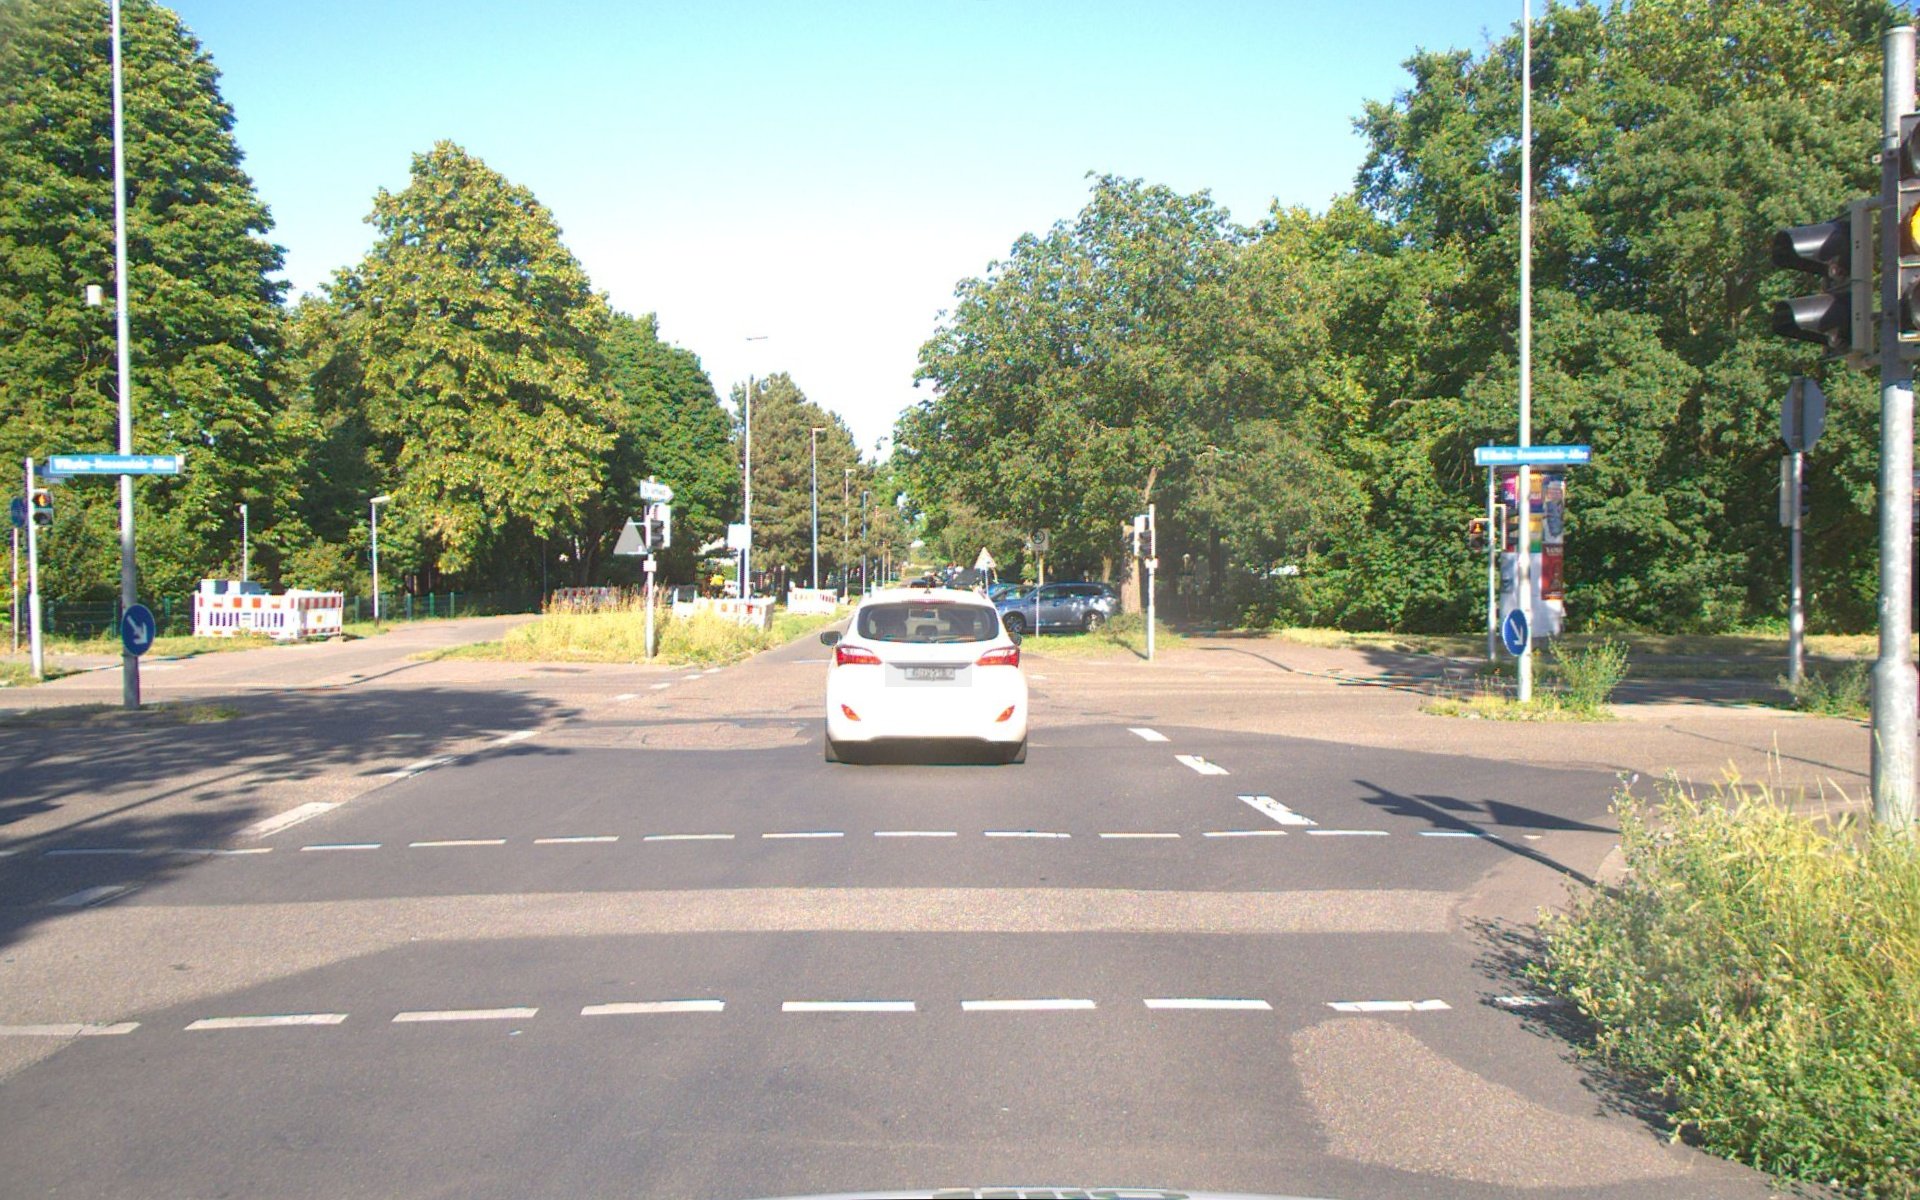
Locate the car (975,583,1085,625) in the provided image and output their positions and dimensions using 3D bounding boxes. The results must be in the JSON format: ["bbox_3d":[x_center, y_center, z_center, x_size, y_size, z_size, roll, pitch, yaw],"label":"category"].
[{"bbox_3d":[2.835,0.161,67.394,4.405,1.658,1.855,0,0,1],"label":"car"}]

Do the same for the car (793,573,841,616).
[{"bbox_3d":[-6.798,-0.288,78.917,1.953,1.847,4.000,1,2,-1],"label":"car"}]

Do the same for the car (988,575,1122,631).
[{"bbox_3d":[3.139,0.089,55.264,4.405,1.814,1.855,0,0,1],"label":"car"}]

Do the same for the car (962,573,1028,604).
[{"bbox_3d":[2.036,-0.649,97.209,3.741,1.713,1.863,1,0,-1],"label":"car"}]

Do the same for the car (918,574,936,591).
[{"bbox_3d":[-3.607,-1.891,182.228,1.953,1.847,3.999,1,0,-1],"label":"car"}]

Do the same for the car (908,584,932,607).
[{"bbox_3d":[-3.464,-0.399,143.882,1.953,1.847,3.999,2,0,-1],"label":"car"}]

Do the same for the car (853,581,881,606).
[{"bbox_3d":[-7.144,-0.510,127.455,1.953,1.847,3.999,0,0,-1],"label":"car"}]

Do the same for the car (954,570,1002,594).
[{"bbox_3d":[1.396,-1.440,131.404,3.741,1.798,1.863,1,0,-1],"label":"car"}]

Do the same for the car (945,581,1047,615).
[{"bbox_3d":[1.946,-0.127,90.691,5.500,1.713,1.948,1,0,-1],"label":"car"}]

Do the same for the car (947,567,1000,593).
[{"bbox_3d":[1.113,-1.630,134.546,4.214,1.941,1.863,1,0,-1],"label":"car"}]

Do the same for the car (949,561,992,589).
[{"bbox_3d":[0.935,-2.168,145.976,3.741,2.339,1.863,1,0,-1],"label":"car"}]

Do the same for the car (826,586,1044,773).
[{"bbox_3d":[-0.289,0.631,15.426,1.754,1.488,3.961,1,1,-3],"label":"car"}]

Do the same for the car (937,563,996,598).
[{"bbox_3d":[0.420,-1.246,107.209,3.741,2.135,1.863,1,0,-1],"label":"car"}]
